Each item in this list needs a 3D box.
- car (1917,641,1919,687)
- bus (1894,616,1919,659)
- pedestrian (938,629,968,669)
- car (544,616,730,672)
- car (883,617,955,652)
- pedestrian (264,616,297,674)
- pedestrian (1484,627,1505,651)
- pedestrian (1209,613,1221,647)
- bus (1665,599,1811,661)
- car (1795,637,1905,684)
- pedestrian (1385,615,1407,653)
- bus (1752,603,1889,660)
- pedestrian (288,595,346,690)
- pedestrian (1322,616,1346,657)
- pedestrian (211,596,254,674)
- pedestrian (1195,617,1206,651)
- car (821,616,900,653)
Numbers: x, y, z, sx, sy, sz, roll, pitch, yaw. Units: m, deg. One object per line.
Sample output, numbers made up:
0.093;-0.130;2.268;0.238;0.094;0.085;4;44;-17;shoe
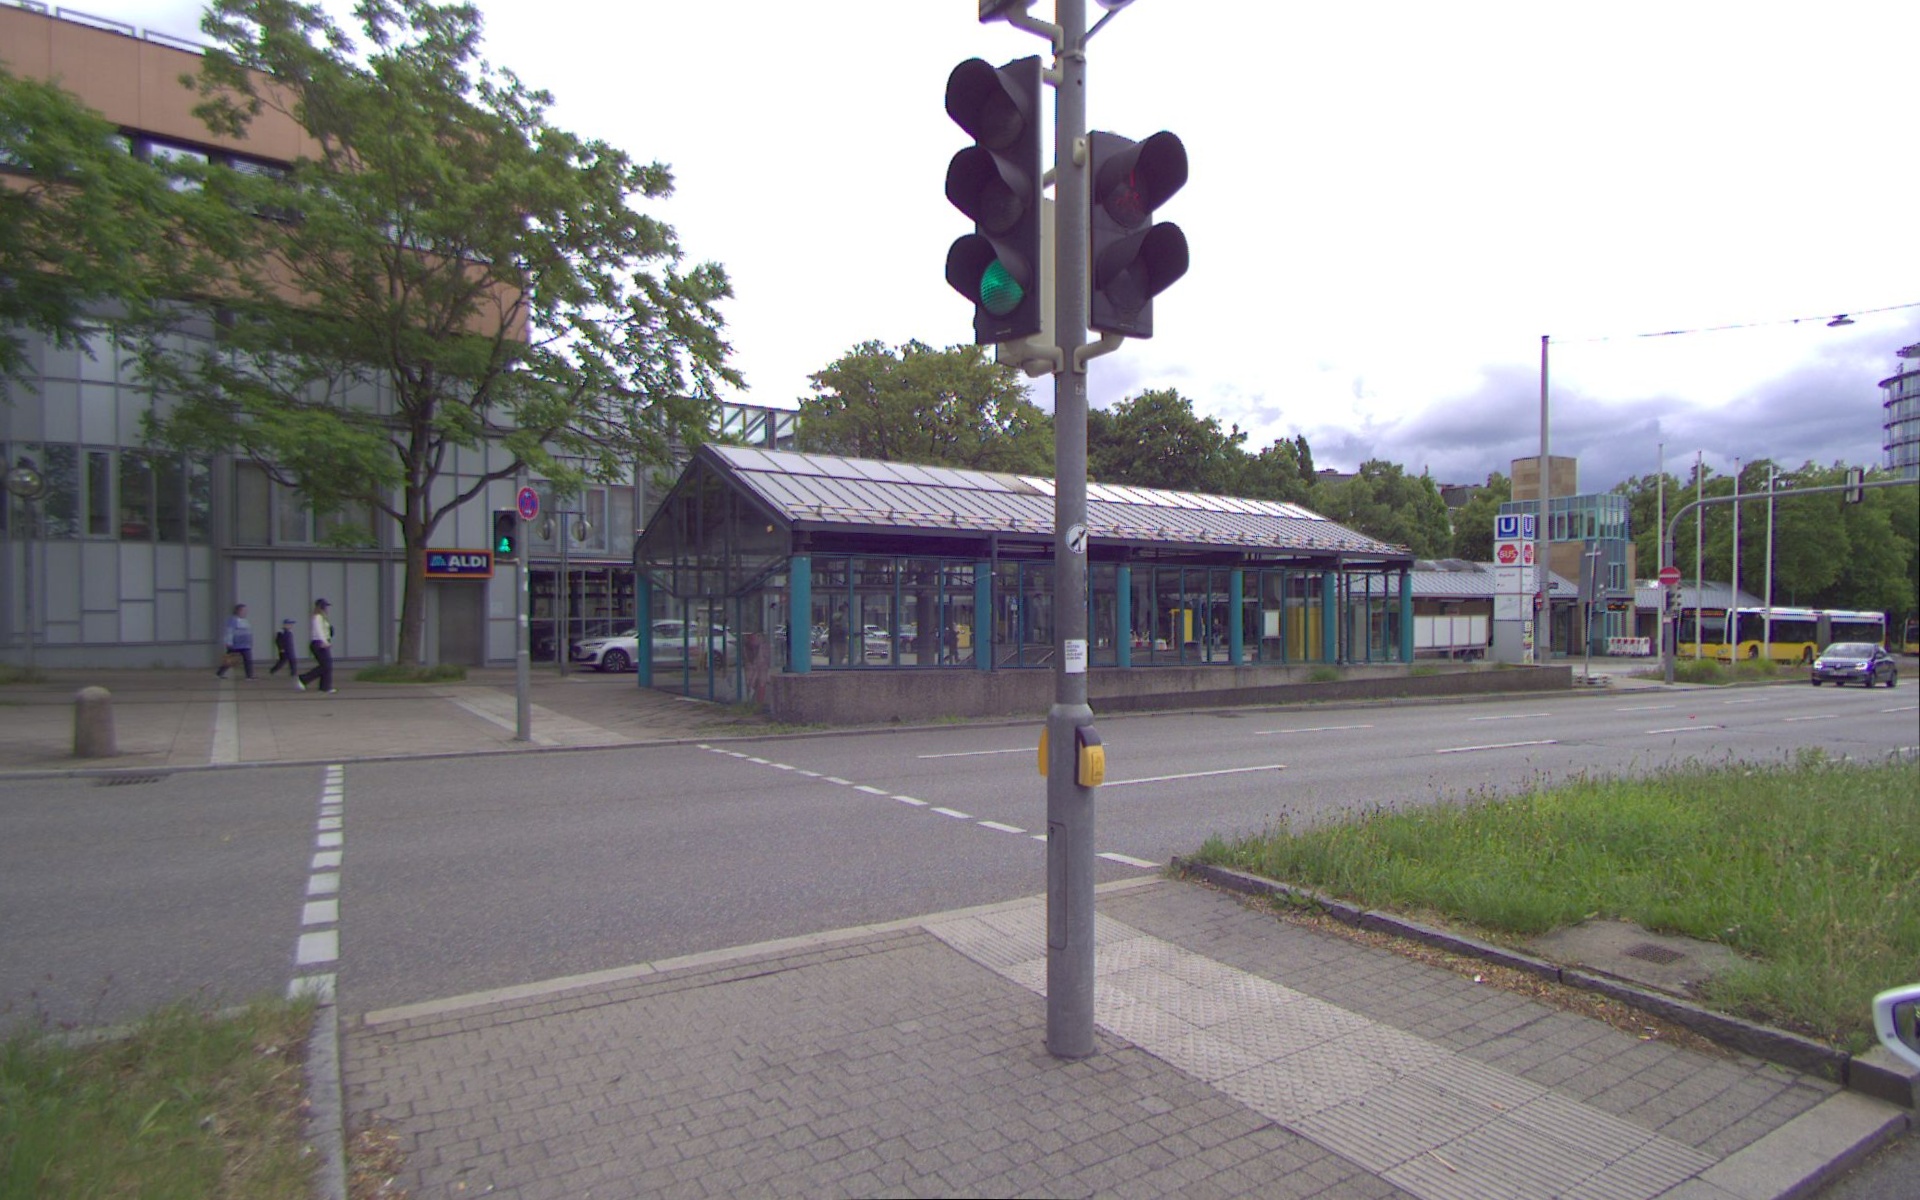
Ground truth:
32.907;2.086;32.748;3.750;1.485;1.734;1;0;-34;car
78.198;3.035;80.009;10.623;3.205;3.065;2;0;-33;bus
-0.257;1.873;38.394;0.981;1.480;0.587;1;0;-32;pedestrian
-8.894;1.213;27.791;4.666;1.418;1.681;2;-1;-30;car
-2.266;1.828;54.353;1.981;1.706;3.958;1;0;-37;car
-14.347;0.942;21.208;0.508;1.208;0.380;2;-1;-30;pedestrian
25.783;1.883;48.452;0.650;1.136;0.616;2;-1;-30;pedestrian
11.820;1.374;46.630;0.520;1.568;0.754;1;0;14;pedestrian
43.402;1.662;55.933;9.319;3.174;2.764;1;1;-28;bus
31.649;2.137;35.707;3.953;1.528;1.806;2;-1;-30;car
19.278;1.507;44.443;0.650;1.671;0.616;2;-1;-30;pedestrian
51.593;1.904;60.183;9.178;3.174;2.799;1;1;-27;bus
-11.886;0.777;18.603;0.817;1.702;0.773;2;-1;-30;pedestrian
15.461;1.504;41.509;0.650;1.671;0.616;2;-1;-30;pedestrian
-14.882;0.717;20.566;0.631;1.567;0.682;2;-1;-32;pedestrian
11.278;1.575;47.063;0.475;1.568;0.384;1;0;14;pedestrian
-4.697;1.592;46.946;1.981;1.617;3.959;2;-1;-36;car
